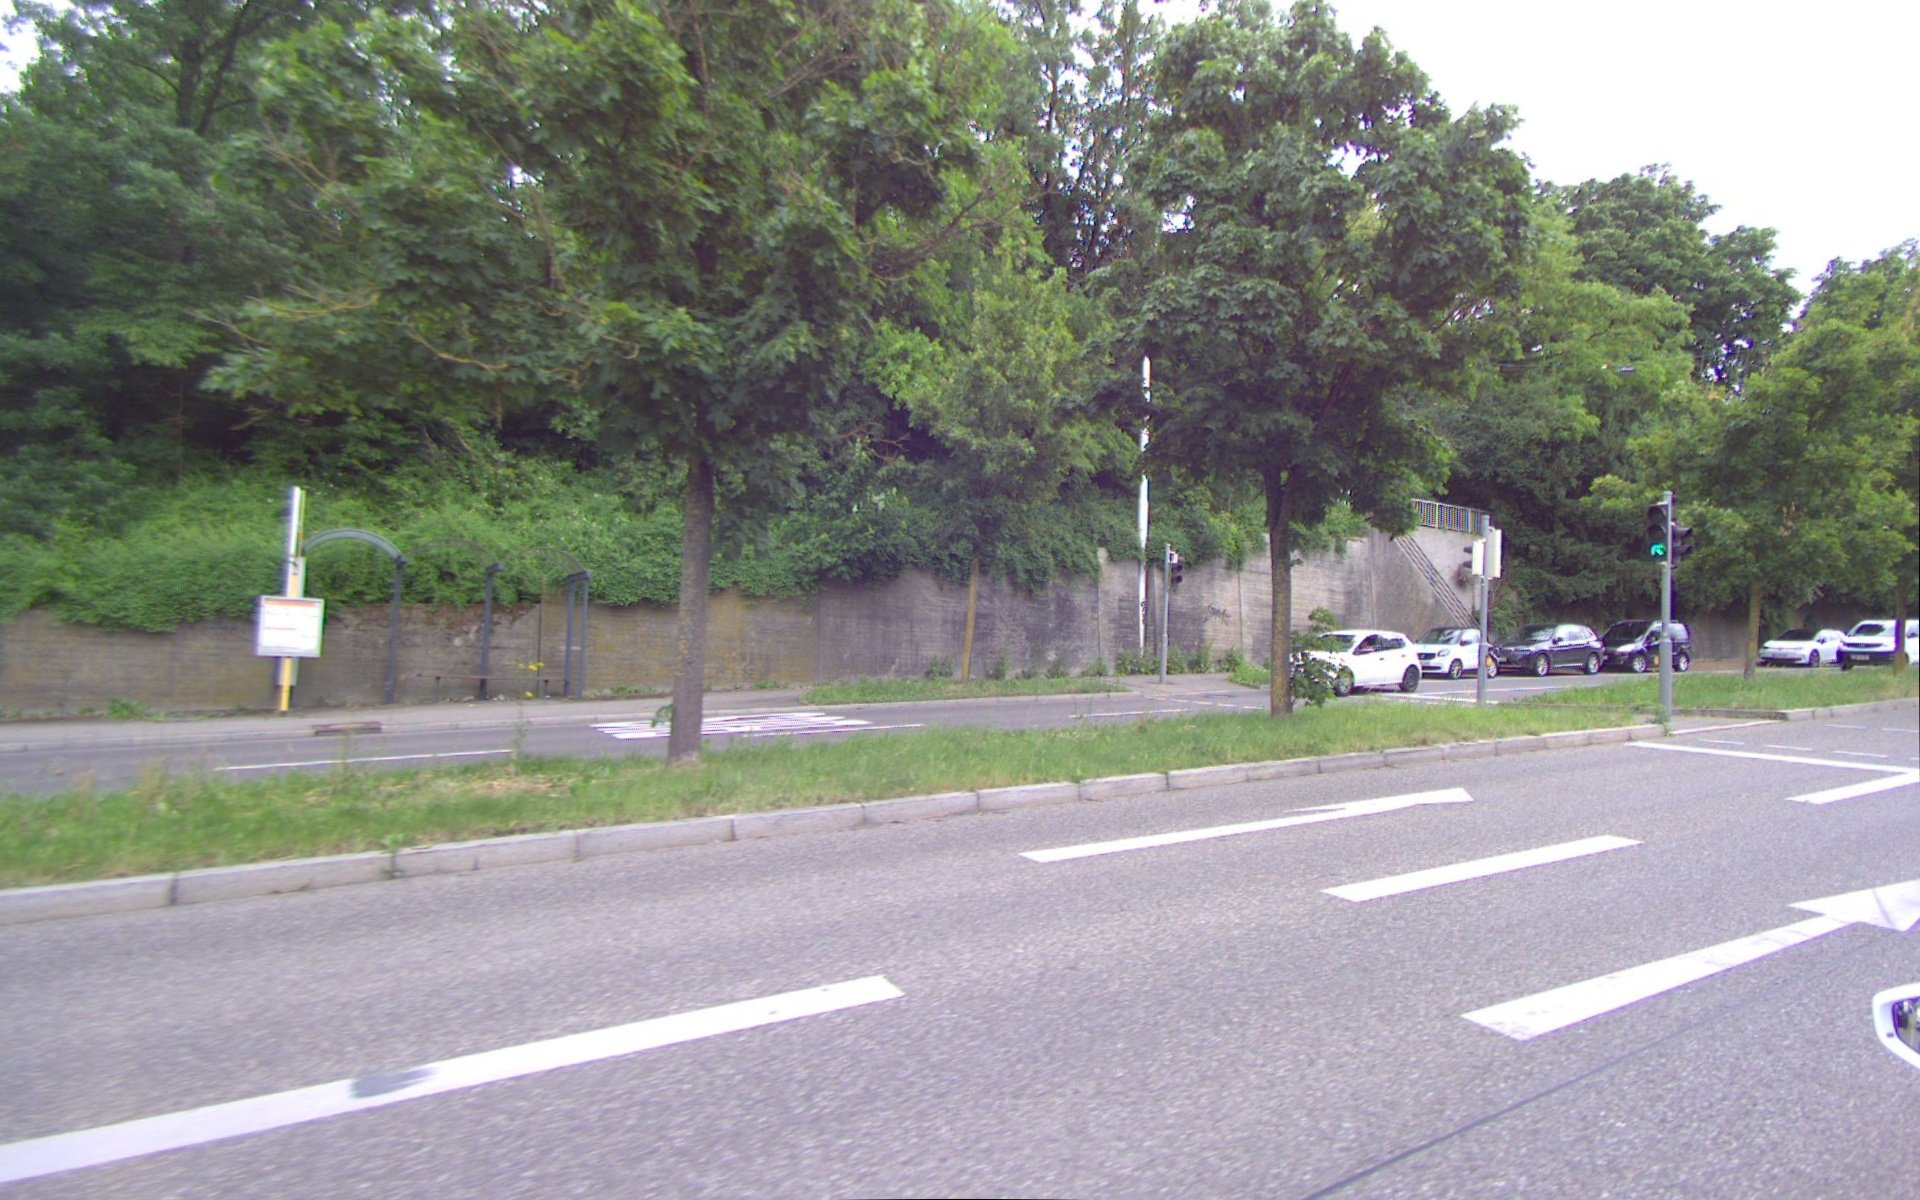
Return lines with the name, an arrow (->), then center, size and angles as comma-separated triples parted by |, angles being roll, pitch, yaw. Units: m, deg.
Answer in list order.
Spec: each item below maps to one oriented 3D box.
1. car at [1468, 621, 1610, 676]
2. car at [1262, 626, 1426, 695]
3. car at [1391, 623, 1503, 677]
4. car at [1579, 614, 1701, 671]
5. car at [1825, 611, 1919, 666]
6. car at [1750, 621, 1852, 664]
car -> 19.023, 1.544, 32.977 | 4.475, 1.679, 1.962 | 1, -1, -28
car -> 9.102, 1.378, 23.752 | 3.747, 1.447, 1.720 | 0, 0, -31
car -> 14.967, 1.489, 30.865 | 3.064, 1.518, 1.770 | 0, 0, -33
car -> 23.912, 1.443, 35.294 | 4.433, 1.867, 1.772 | 0, 0, -29
car -> 35.295, 1.410, 38.140 | 4.954, 1.984, 1.932 | 0, -1, -26
car -> 34.854, 1.716, 41.605 | 4.116, 1.650, 1.774 | 0, 0, -27
